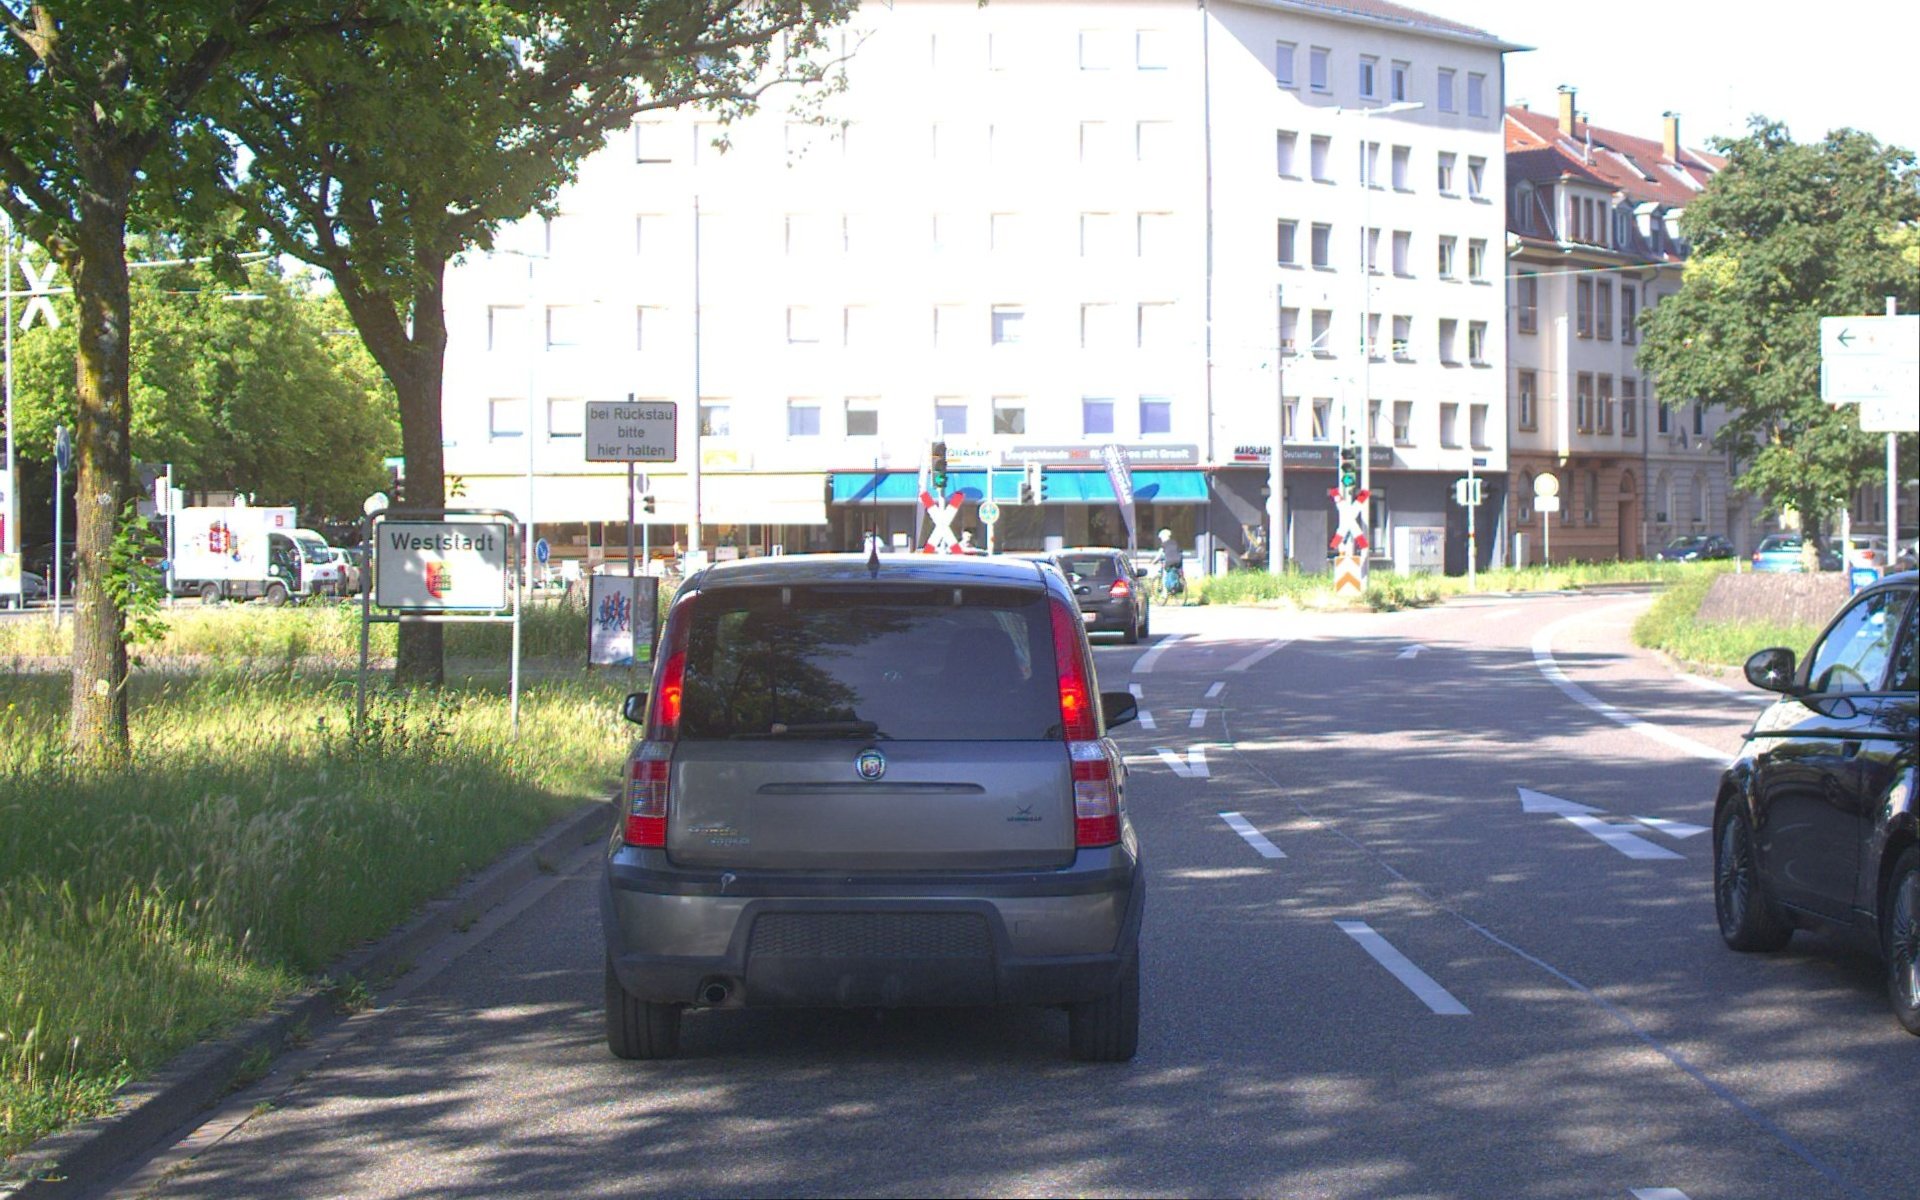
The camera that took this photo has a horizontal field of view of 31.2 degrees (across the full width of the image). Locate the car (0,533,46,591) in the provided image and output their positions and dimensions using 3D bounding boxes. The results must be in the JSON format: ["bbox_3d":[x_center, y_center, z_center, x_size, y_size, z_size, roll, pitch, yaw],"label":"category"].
[{"bbox_3d":[-25.348,-0.954,86.275,4.387,1.443,1.669,0,1,-3],"label":"car"}]

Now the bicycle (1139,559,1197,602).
[{"bbox_3d":[4.675,-0.437,77.396,0.782,0.948,1.857,1,0,-14],"label":"bicycle"}]

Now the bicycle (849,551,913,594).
[{"bbox_3d":[-1.976,-0.695,86.182,1.583,1.086,0.531,0,1,34],"label":"bicycle"}]

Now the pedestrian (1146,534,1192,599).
[{"bbox_3d":[4.696,-0.755,77.356,0.773,1.423,0.939,1,0,-14],"label":"pedestrian"}]

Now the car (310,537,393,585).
[{"bbox_3d":[-19.920,-1.296,112.603,1.936,1.507,3.939,0,1,1],"label":"car"}]

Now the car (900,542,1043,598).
[{"bbox_3d":[0.229,-0.696,78.059,1.993,1.239,4.001,0,1,-20],"label":"car"}]

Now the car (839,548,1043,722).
[{"bbox_3d":[-0.230,0.269,31.903,1.760,1.481,4.294,0,1,-2],"label":"car"}]

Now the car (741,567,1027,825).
[{"bbox_3d":[-0.452,0.528,21.379,1.621,1.424,3.688,0,1,-1],"label":"car"}]

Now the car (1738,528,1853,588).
[{"bbox_3d":[21.127,-1.083,86.859,1.778,1.437,3.612,1,2,32],"label":"car"}]

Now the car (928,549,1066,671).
[{"bbox_3d":[0.476,0.096,42.830,1.646,1.433,3.396,0,1,1],"label":"car"}]

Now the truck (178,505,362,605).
[{"bbox_3d":[-17.000,-1.104,84.757,4.100,2.418,1.792,0,1,19],"label":"truck"}]

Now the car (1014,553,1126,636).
[{"bbox_3d":[1.762,-0.084,54.028,1.690,1.249,3.625,0,0,3],"label":"car"}]

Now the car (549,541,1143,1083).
[{"bbox_3d":[-0.290,0.569,11.261,1.660,1.505,3.251,0,1,1],"label":"car"}]

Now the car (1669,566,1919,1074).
[{"bbox_3d":[3.706,0.647,12.002,1.674,1.498,3.562,0,1,-1],"label":"car"}]

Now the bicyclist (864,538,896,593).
[{"bbox_3d":[-2.000,-0.869,86.195,0.597,1.352,0.531,0,1,34],"label":"bicyclist"}]

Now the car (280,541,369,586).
[{"bbox_3d":[-19.328,-1.118,104.650,1.993,1.305,4.000,0,1,-1],"label":"car"}]

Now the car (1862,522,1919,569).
[{"bbox_3d":[32.677,-1.873,117.487,1.904,1.588,4.001,-1,1,-13],"label":"car"}]

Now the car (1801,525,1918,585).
[{"bbox_3d":[23.826,-1.195,90.986,1.823,1.503,3.993,0,2,33],"label":"car"}]
